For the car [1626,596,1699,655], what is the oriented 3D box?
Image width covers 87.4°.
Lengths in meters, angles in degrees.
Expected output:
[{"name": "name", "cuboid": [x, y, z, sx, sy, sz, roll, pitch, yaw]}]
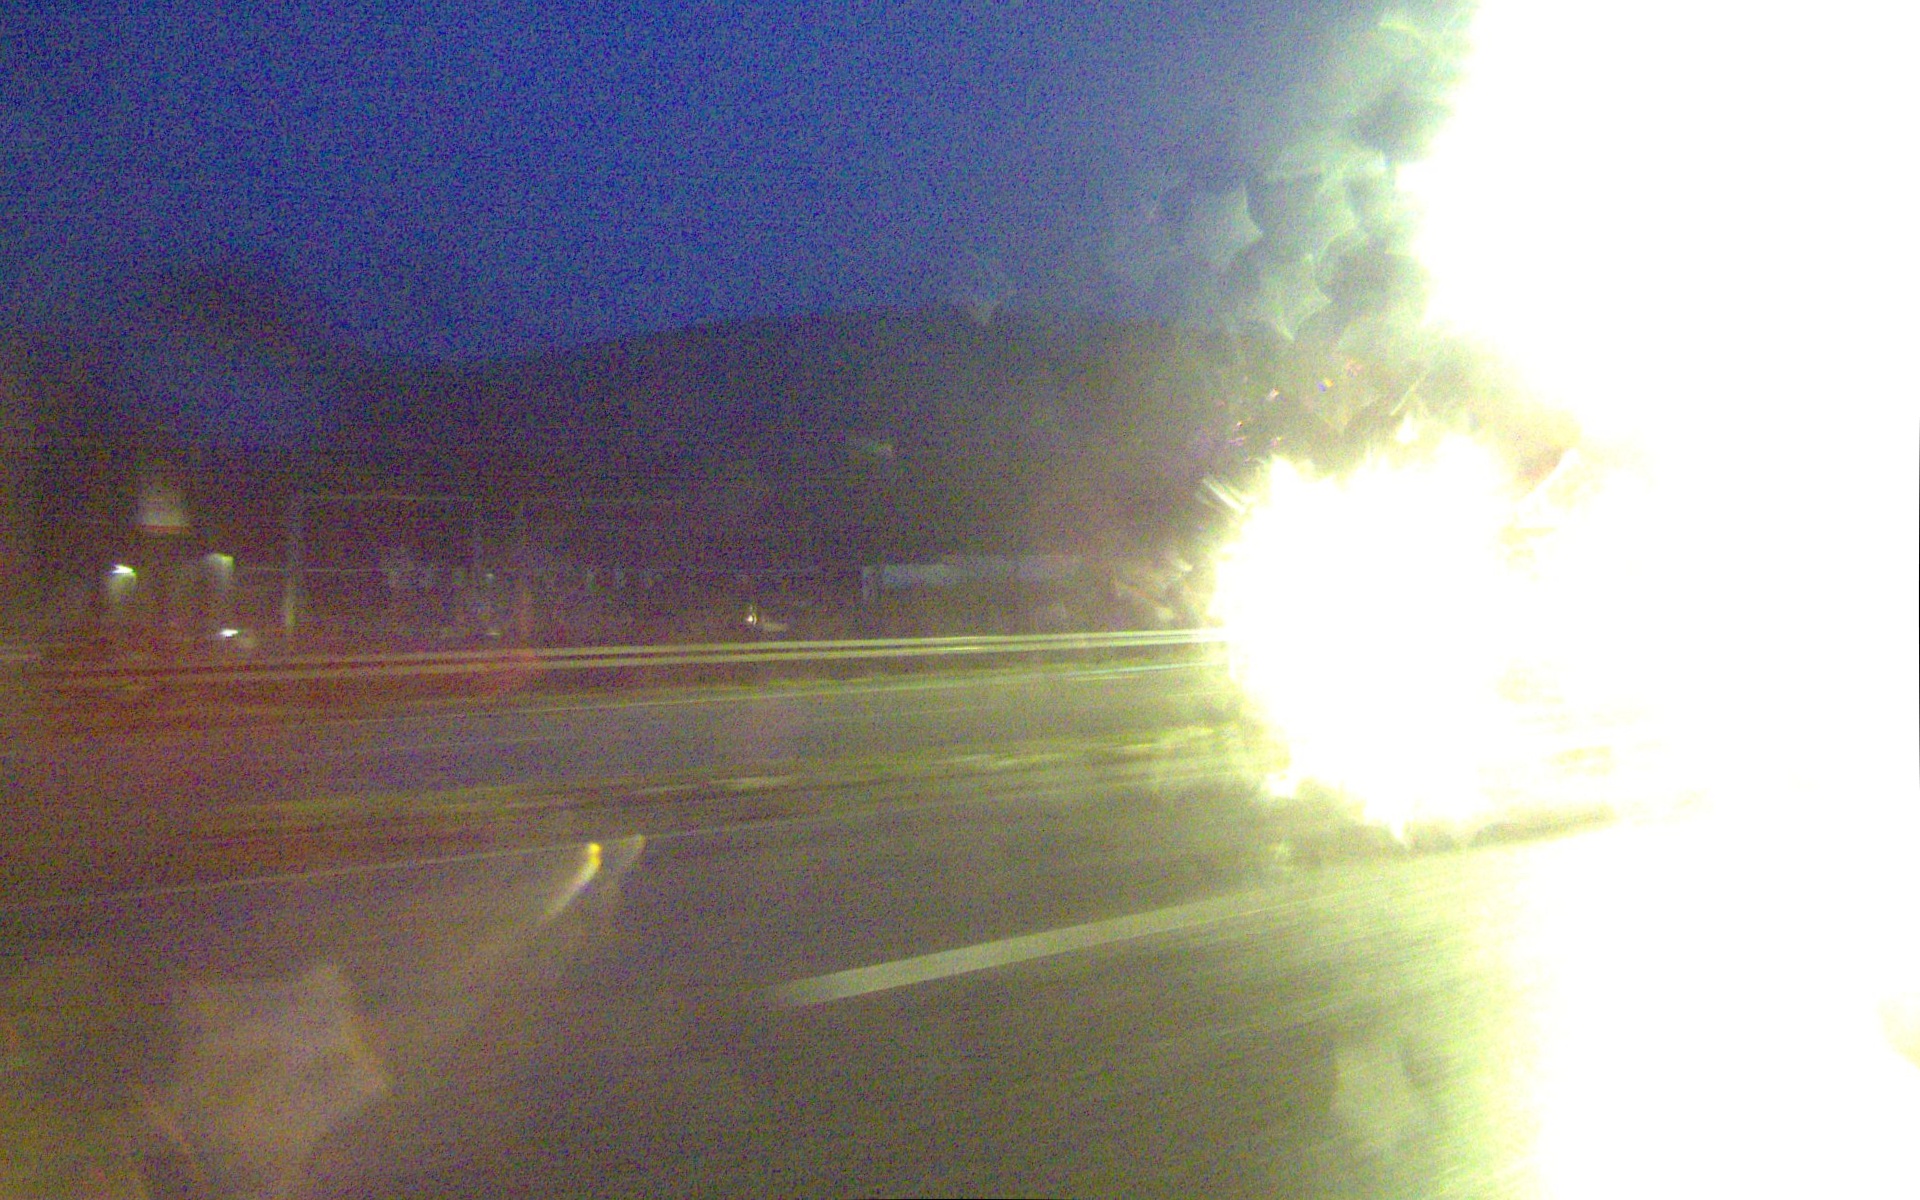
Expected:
[{"name": "car", "cuboid": [26.153, 0.934, 37.510, 1.965, 2.040, 3.991, 0, -1, 31]}]
